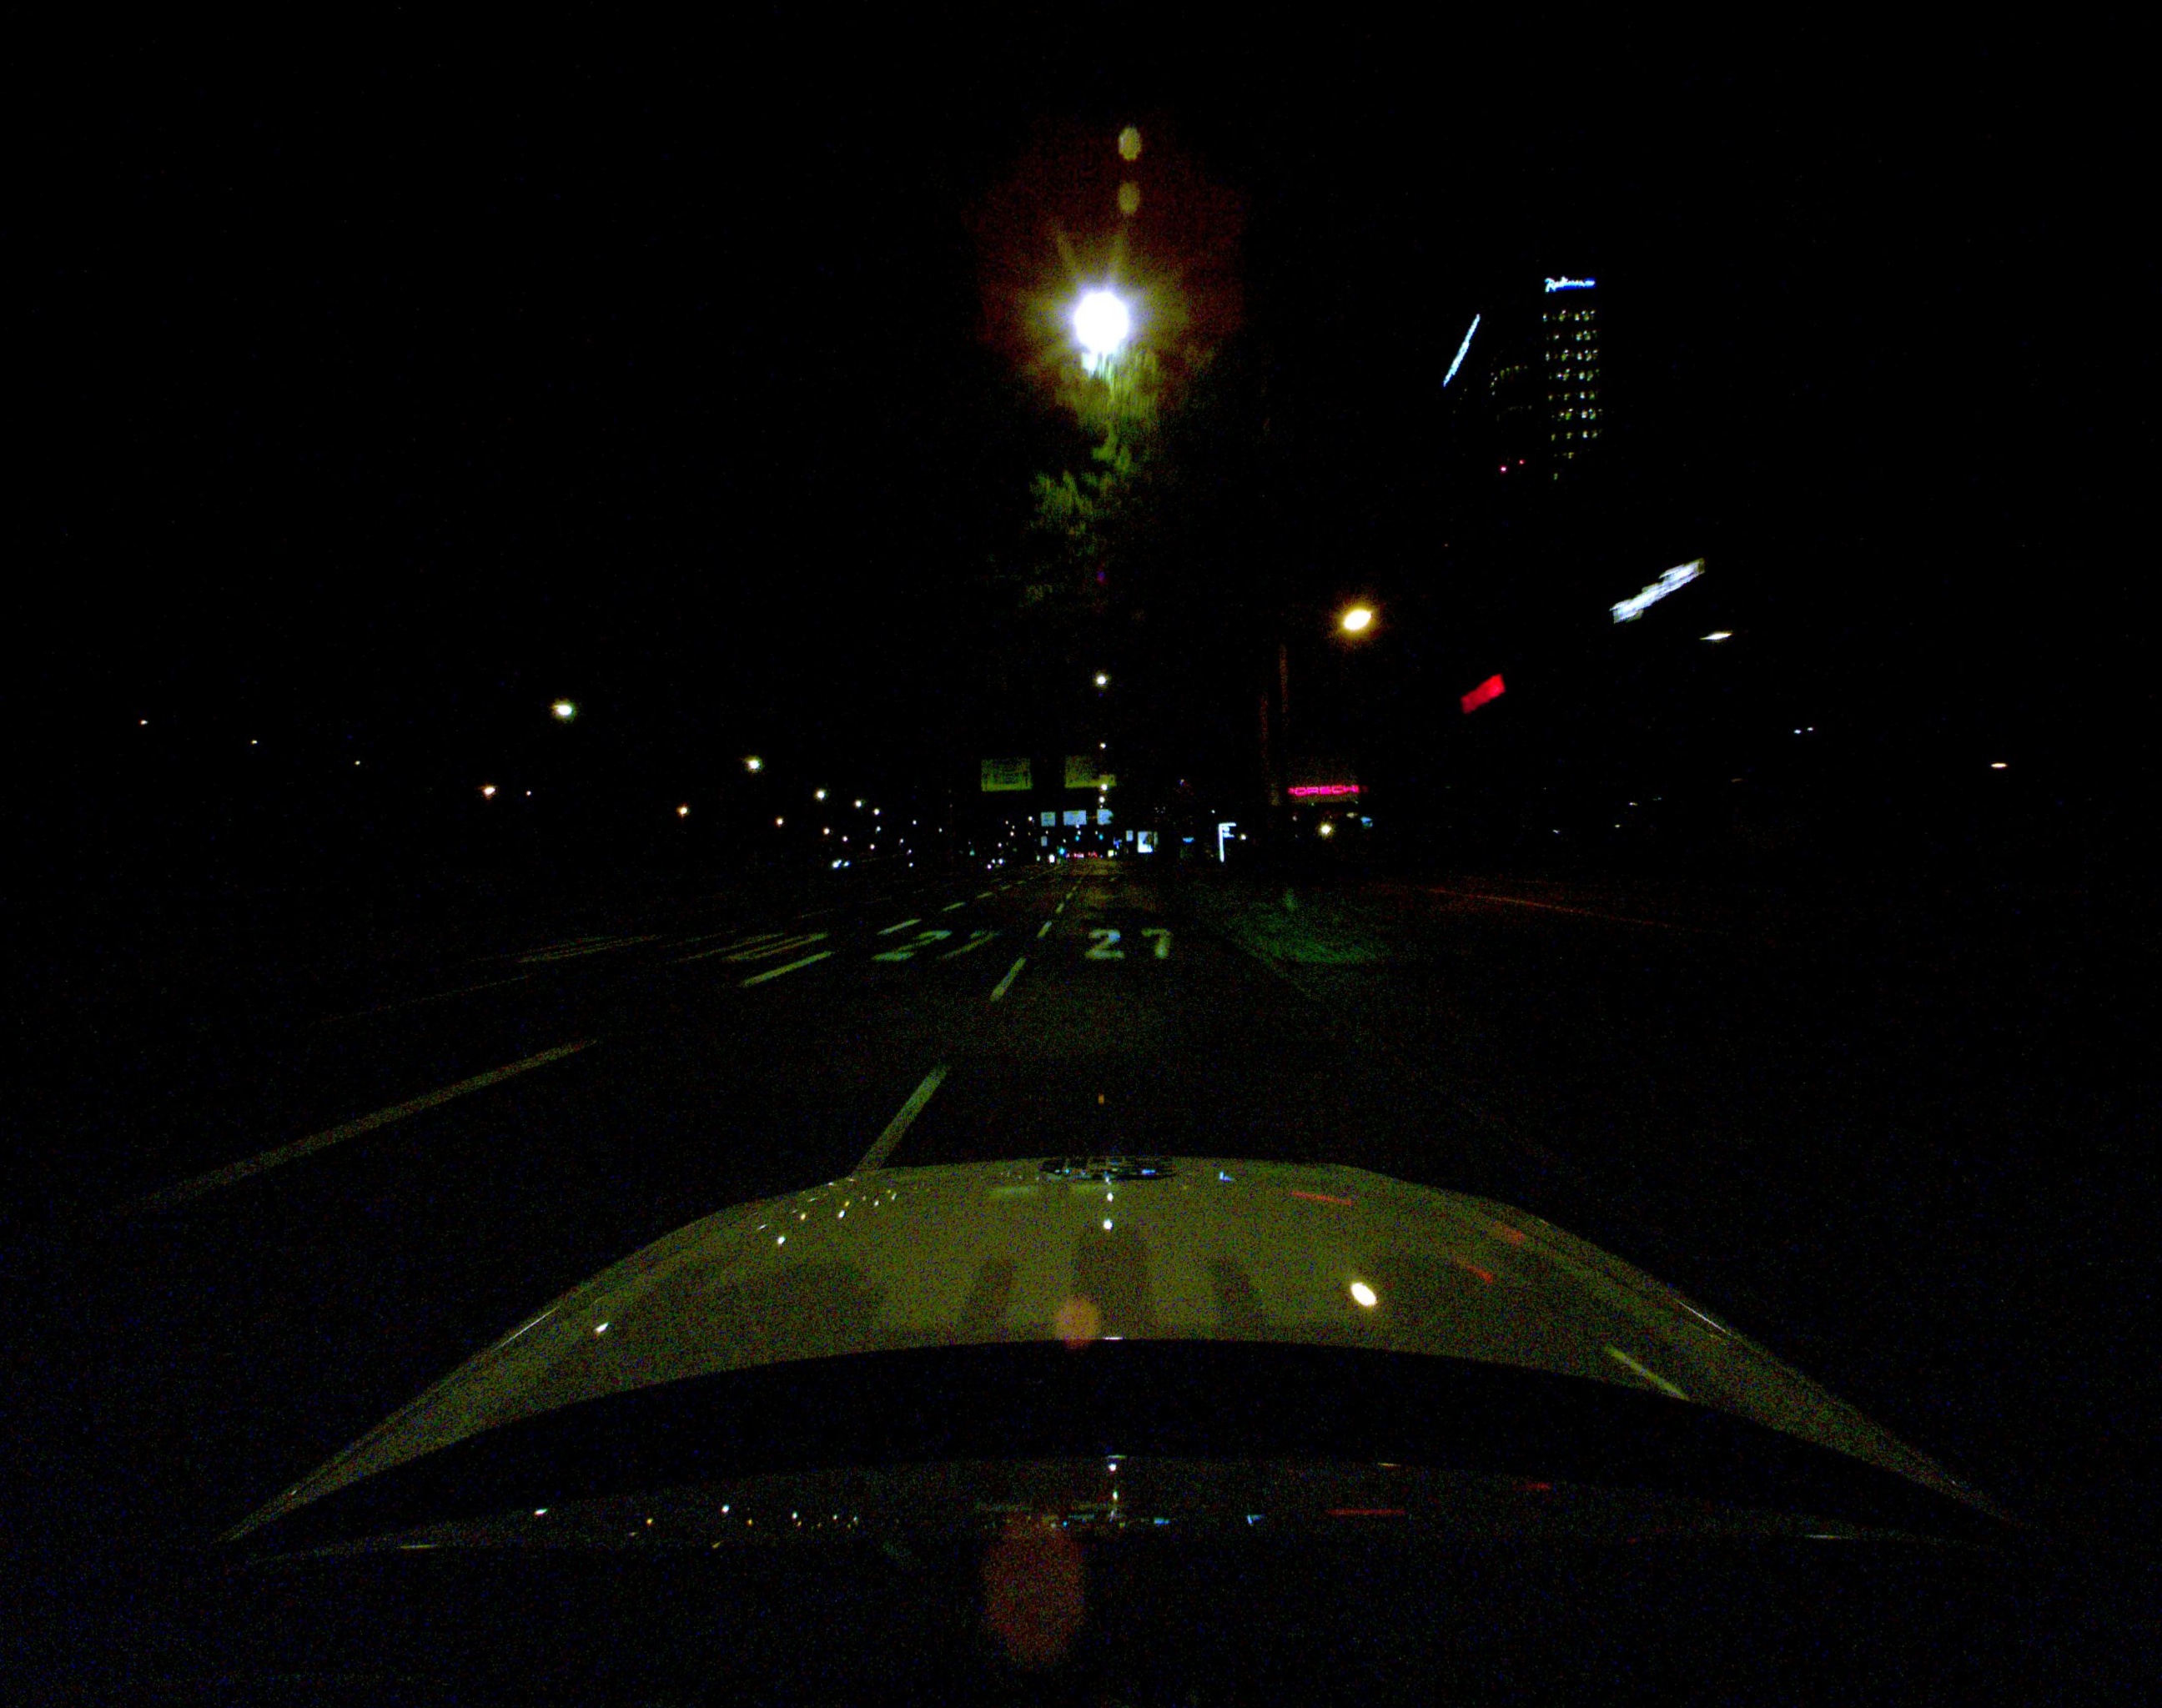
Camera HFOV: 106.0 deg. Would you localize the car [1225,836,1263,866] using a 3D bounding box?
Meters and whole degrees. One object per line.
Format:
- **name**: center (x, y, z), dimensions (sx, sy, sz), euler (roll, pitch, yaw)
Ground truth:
- **car**: center (11.213, -0.167, 55.900), dimensions (1.977, 1.945, 4.019), euler (-1, -2, 19)
